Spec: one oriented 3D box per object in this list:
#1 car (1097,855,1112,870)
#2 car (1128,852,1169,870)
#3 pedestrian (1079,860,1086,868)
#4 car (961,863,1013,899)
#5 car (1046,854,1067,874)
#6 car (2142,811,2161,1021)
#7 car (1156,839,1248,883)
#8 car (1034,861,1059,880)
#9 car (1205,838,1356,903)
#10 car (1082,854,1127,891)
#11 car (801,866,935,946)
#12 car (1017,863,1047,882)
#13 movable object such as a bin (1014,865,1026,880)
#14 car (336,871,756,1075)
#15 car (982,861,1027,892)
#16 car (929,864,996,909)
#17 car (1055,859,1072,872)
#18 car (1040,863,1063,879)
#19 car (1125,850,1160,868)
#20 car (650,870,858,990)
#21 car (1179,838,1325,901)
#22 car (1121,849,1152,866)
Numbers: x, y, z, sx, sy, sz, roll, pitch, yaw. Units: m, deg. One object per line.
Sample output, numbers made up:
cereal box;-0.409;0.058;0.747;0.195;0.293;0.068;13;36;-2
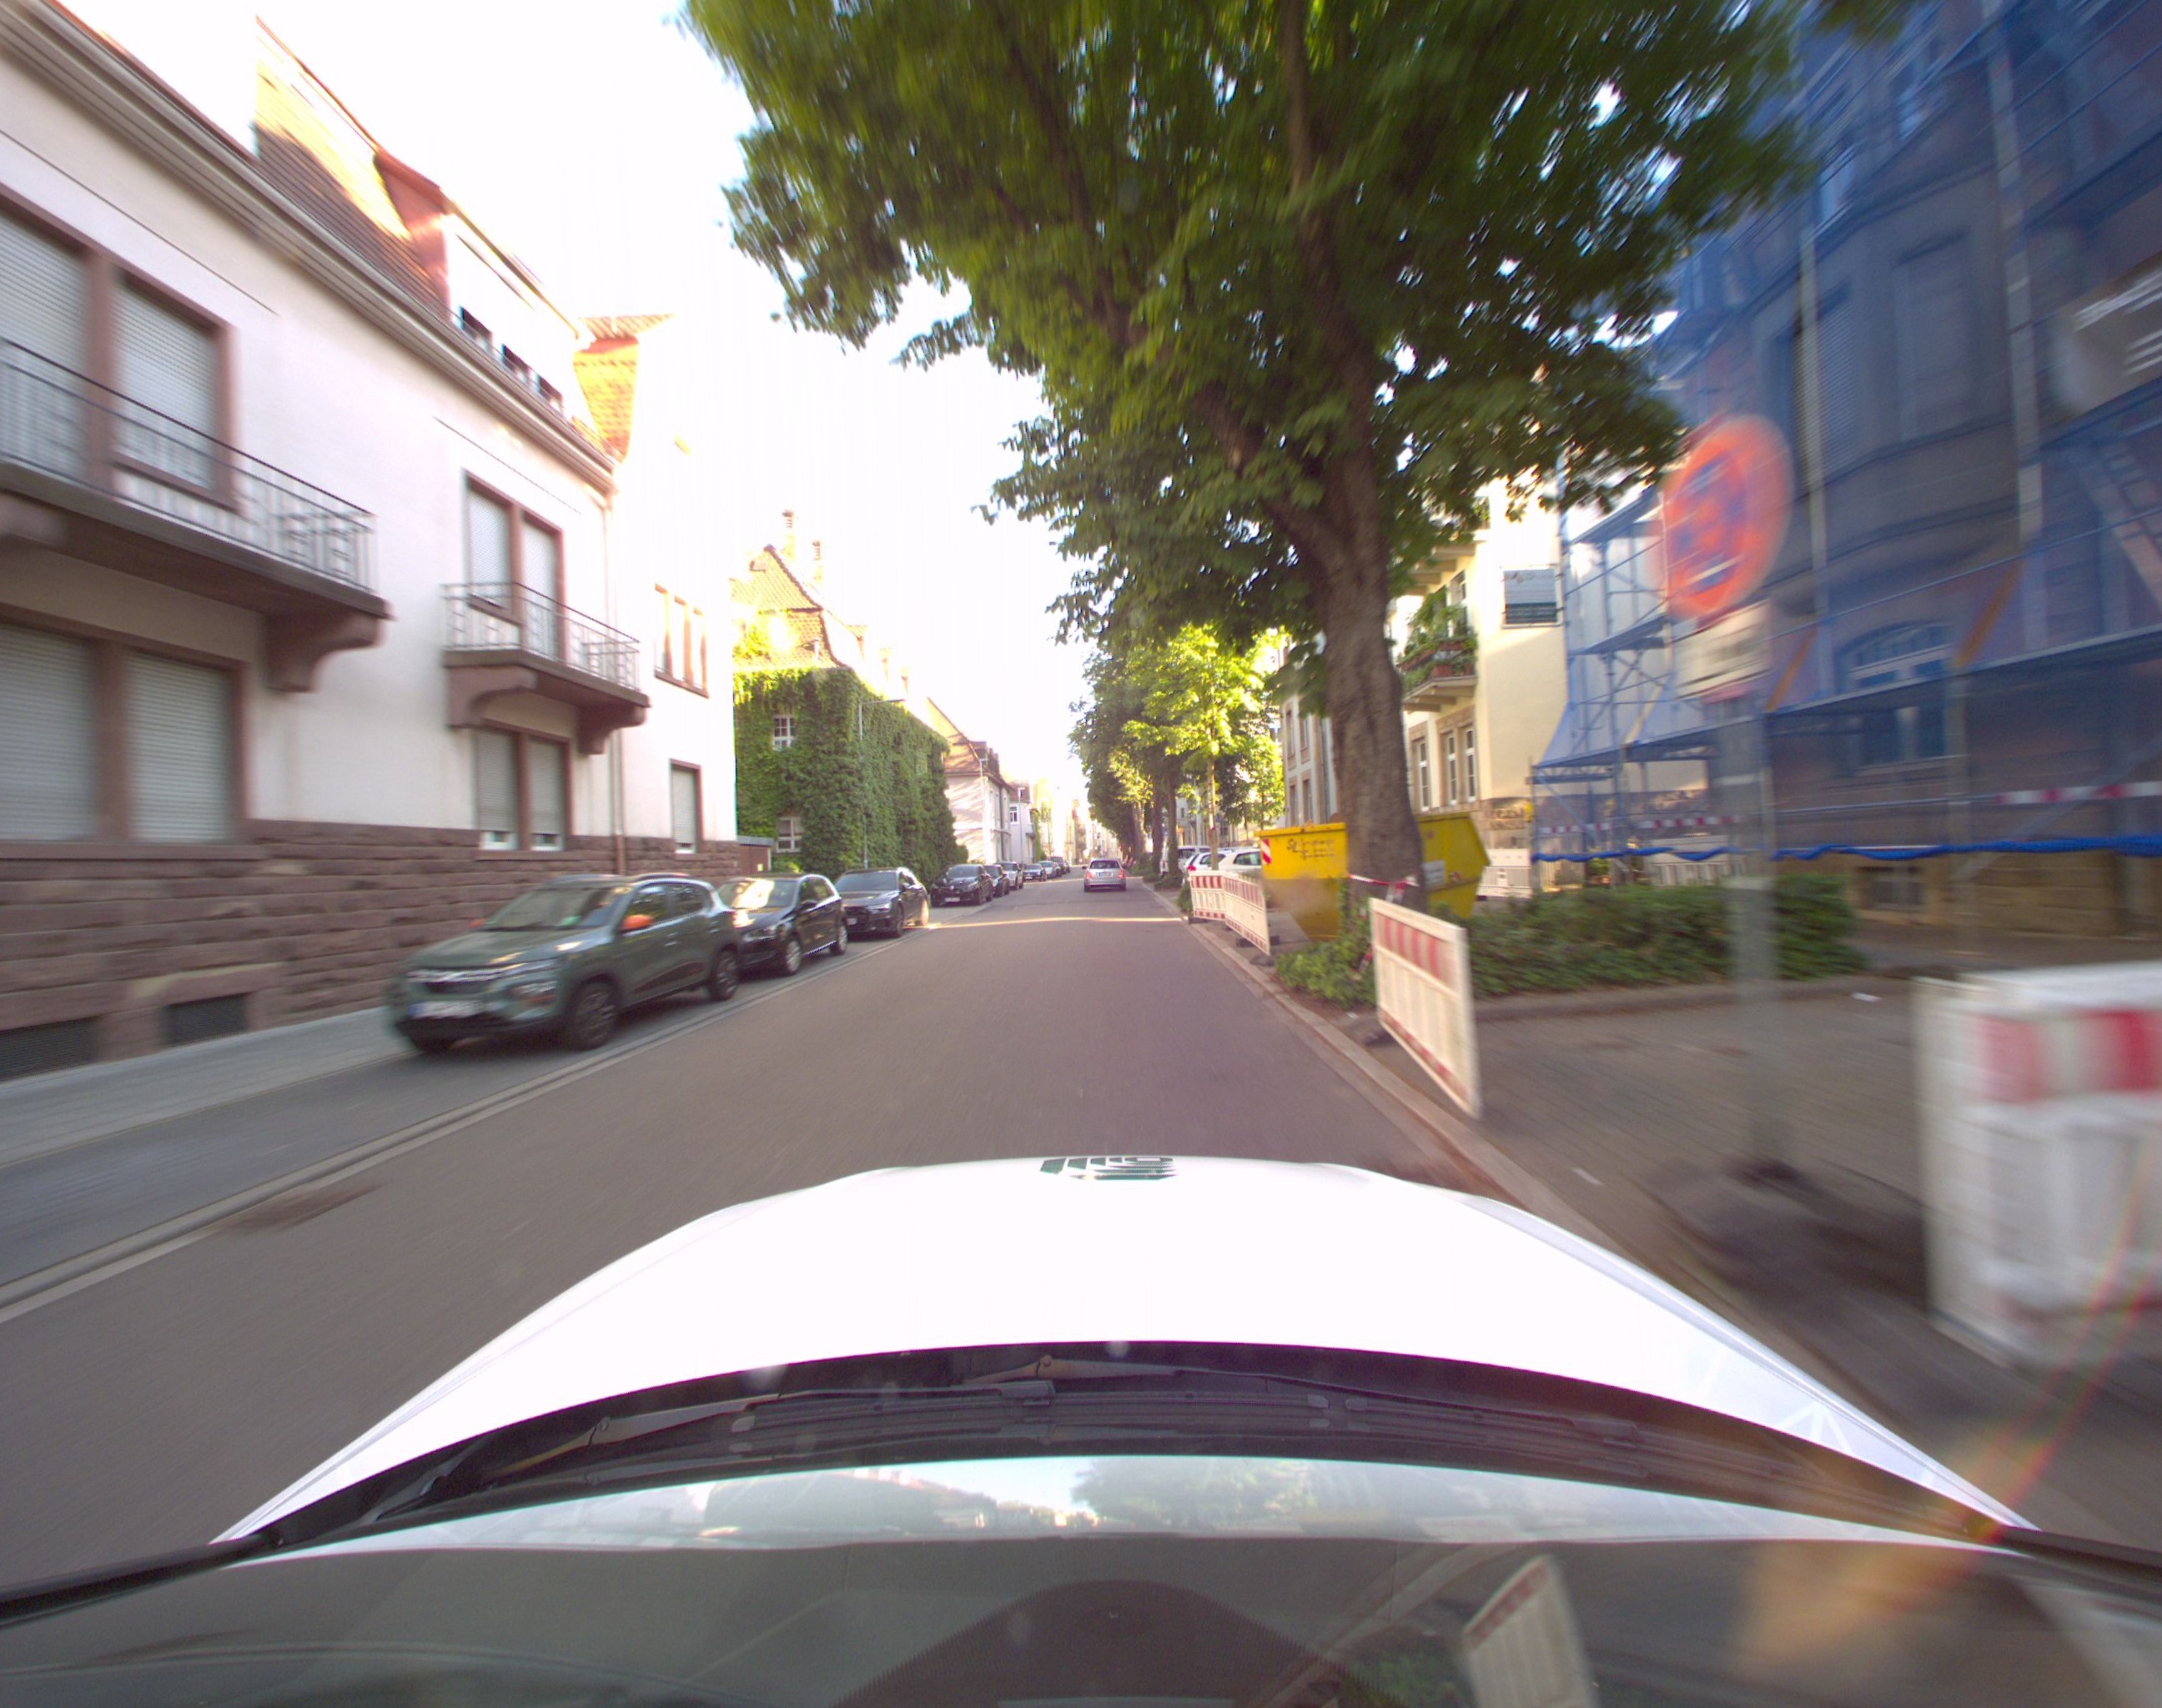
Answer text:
car;2.809;0.996;97.256;1.617;1.570;3.682;-3;0;2
car;7.131;0.737;85.941;4.172;1.475;1.853;-5;-1;4
pedestrian;0.332;2.254;186.093;1.215;1.721;1.505;-2;-1;5
car;-4.021;1.128;35.439;1.680;1.379;3.722;-2;0;2
car;-2.524;0.982;84.968;1.975;1.947;4.852;-2;0;1
car;4.258;0.486;0.729;3.971;1.492;1.852;-5;0;3
car;6.094;0.359;41.341;4.299;1.807;2.000;-5;0;1
car;-2.868;1.353;68.503;1.647;1.445;3.962;-2;0;2
car;5.472;0.444;22.708;3.832;1.462;1.690;-5;0;6
car;1.030;0.771;35.202;1.777;1.437;3.853;-2;-1;2
car;-4.624;1.063;18.426;1.787;1.461;4.775;-2;0;-1
car;-3.548;1.345;59.720;1.646;1.324;4.049;-2;-1;4
movable object such as a bin;-5.518;1.642;73.692;0.719;1.283;2.097;-3;0;2
car;-4.962;0.973;8.286;1.647;1.486;3.766;-2;0;2
car;-3.924;1.118;42.167;1.697;1.460;3.920;-2;0;3
car;-4.202;1.123;29.507;1.643;1.421;4.100;-2;0;2
car;-1.990;1.308;95.897;1.688;1.447;4.359;-2;0;2
car;-2.634;1.488;73.507;1.524;1.319;4.231;-2;-1;4
car;7.712;0.611;102.536;4.207;1.896;1.905;-4;-1;-1
car;-4.827;1.039;12.625;1.648;1.447;3.843;-2;0;-1
car;5.203;0.463;25.210;4.127;1.534;1.688;-5;0;3
car;8.386;0.539;122.638;4.376;2.364;1.999;-3;0;-1
